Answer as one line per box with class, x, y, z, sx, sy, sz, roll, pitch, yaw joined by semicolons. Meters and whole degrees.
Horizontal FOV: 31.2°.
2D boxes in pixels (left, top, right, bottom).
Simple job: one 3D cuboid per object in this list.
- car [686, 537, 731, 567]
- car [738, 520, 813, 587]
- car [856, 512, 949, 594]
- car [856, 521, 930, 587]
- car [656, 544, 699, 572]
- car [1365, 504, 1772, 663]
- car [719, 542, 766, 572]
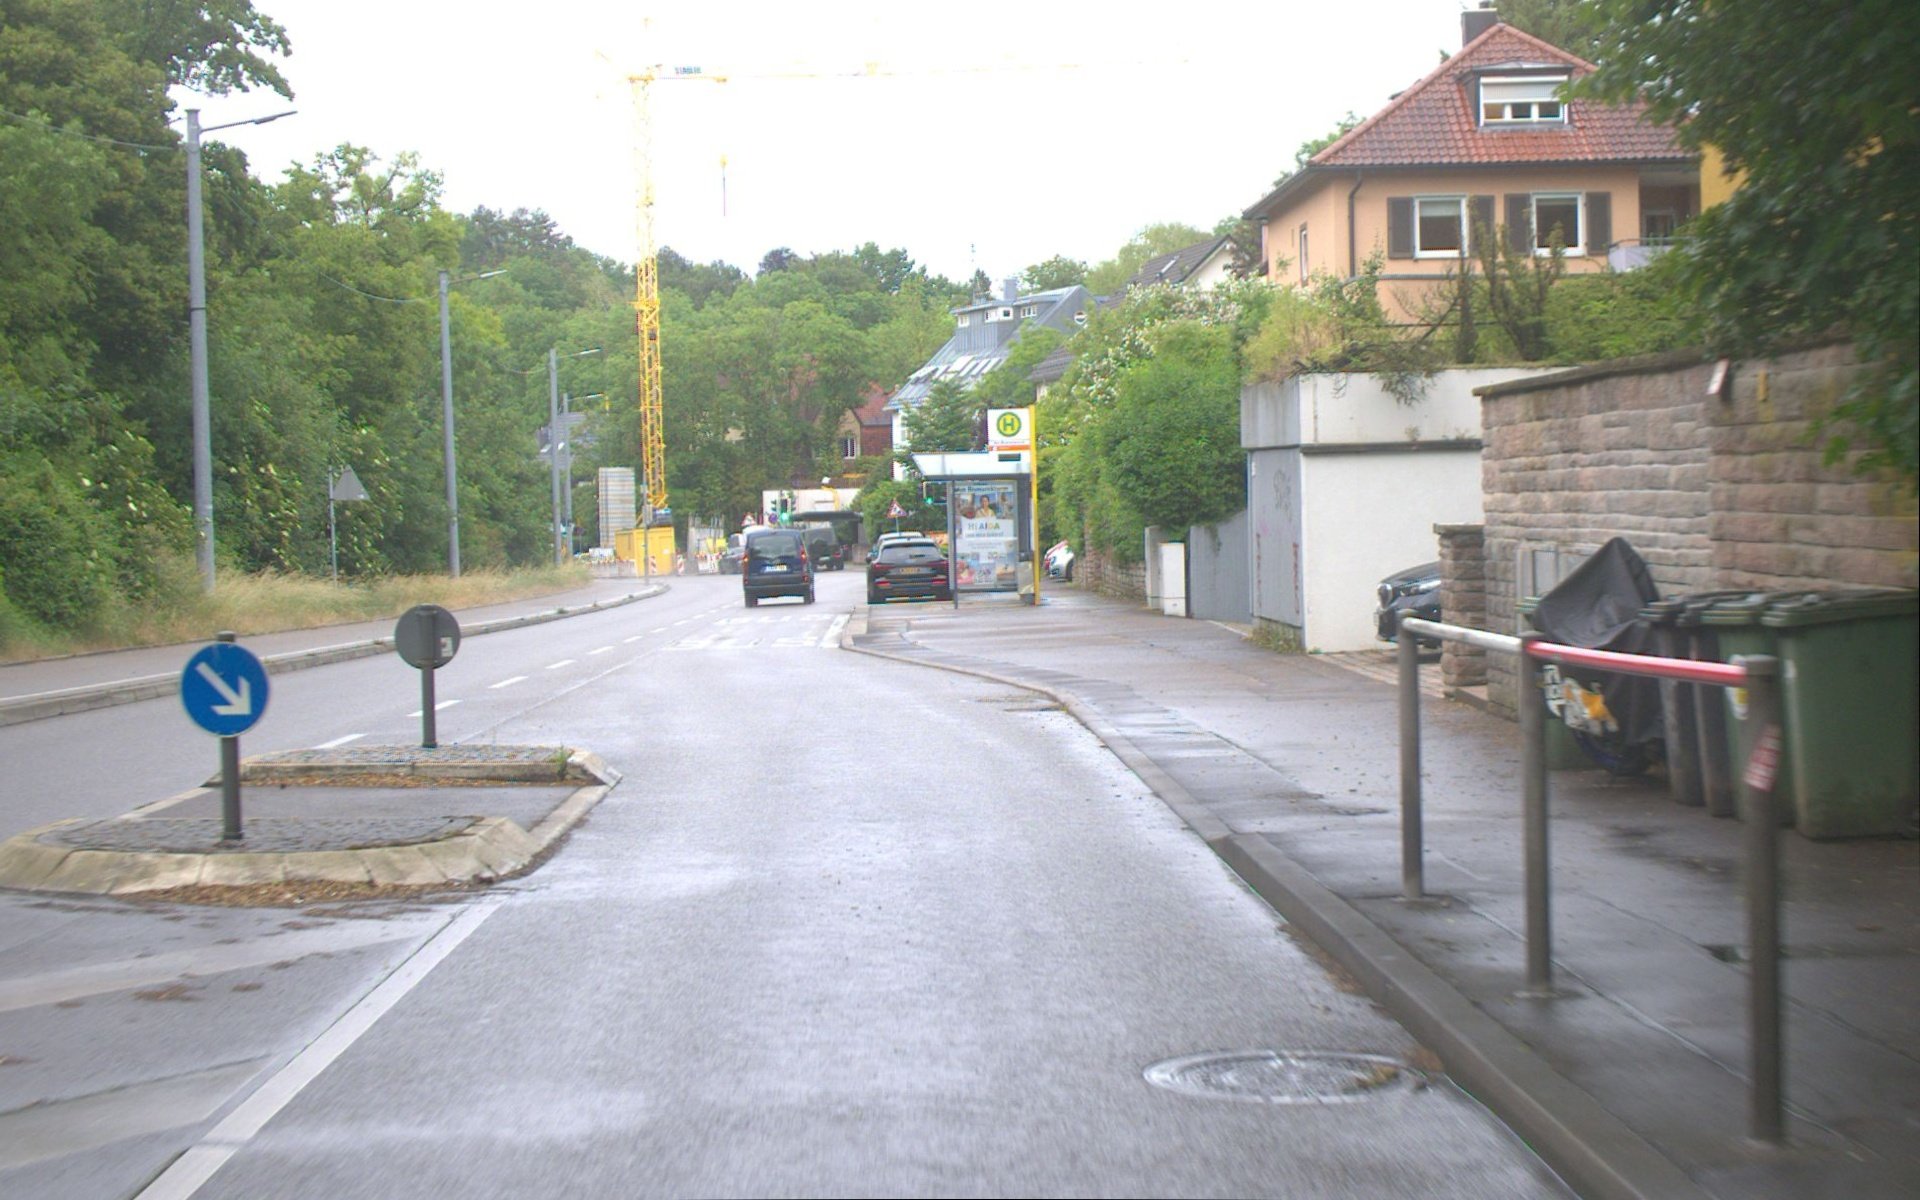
car;-13.710;-2.614;186.936;1.739;1.547;3.857;1;0;-15
car;-4.484;-1.141;83.916;1.667;1.588;3.683;0;1;-1
car;-1.262;-1.040;75.960;1.993;1.766;4.115;0;1;-1
car;-1.829;-1.267;94.525;1.993;1.766;4.115;0;1;-1
car;-15.836;-2.374;192.654;1.739;1.546;3.857;0;1;-15
car;6.068;-0.178;34.524;3.769;1.547;1.609;0;1;-2
car;-11.472;-2.278;181.141;1.739;1.546;3.857;0;1;-15
